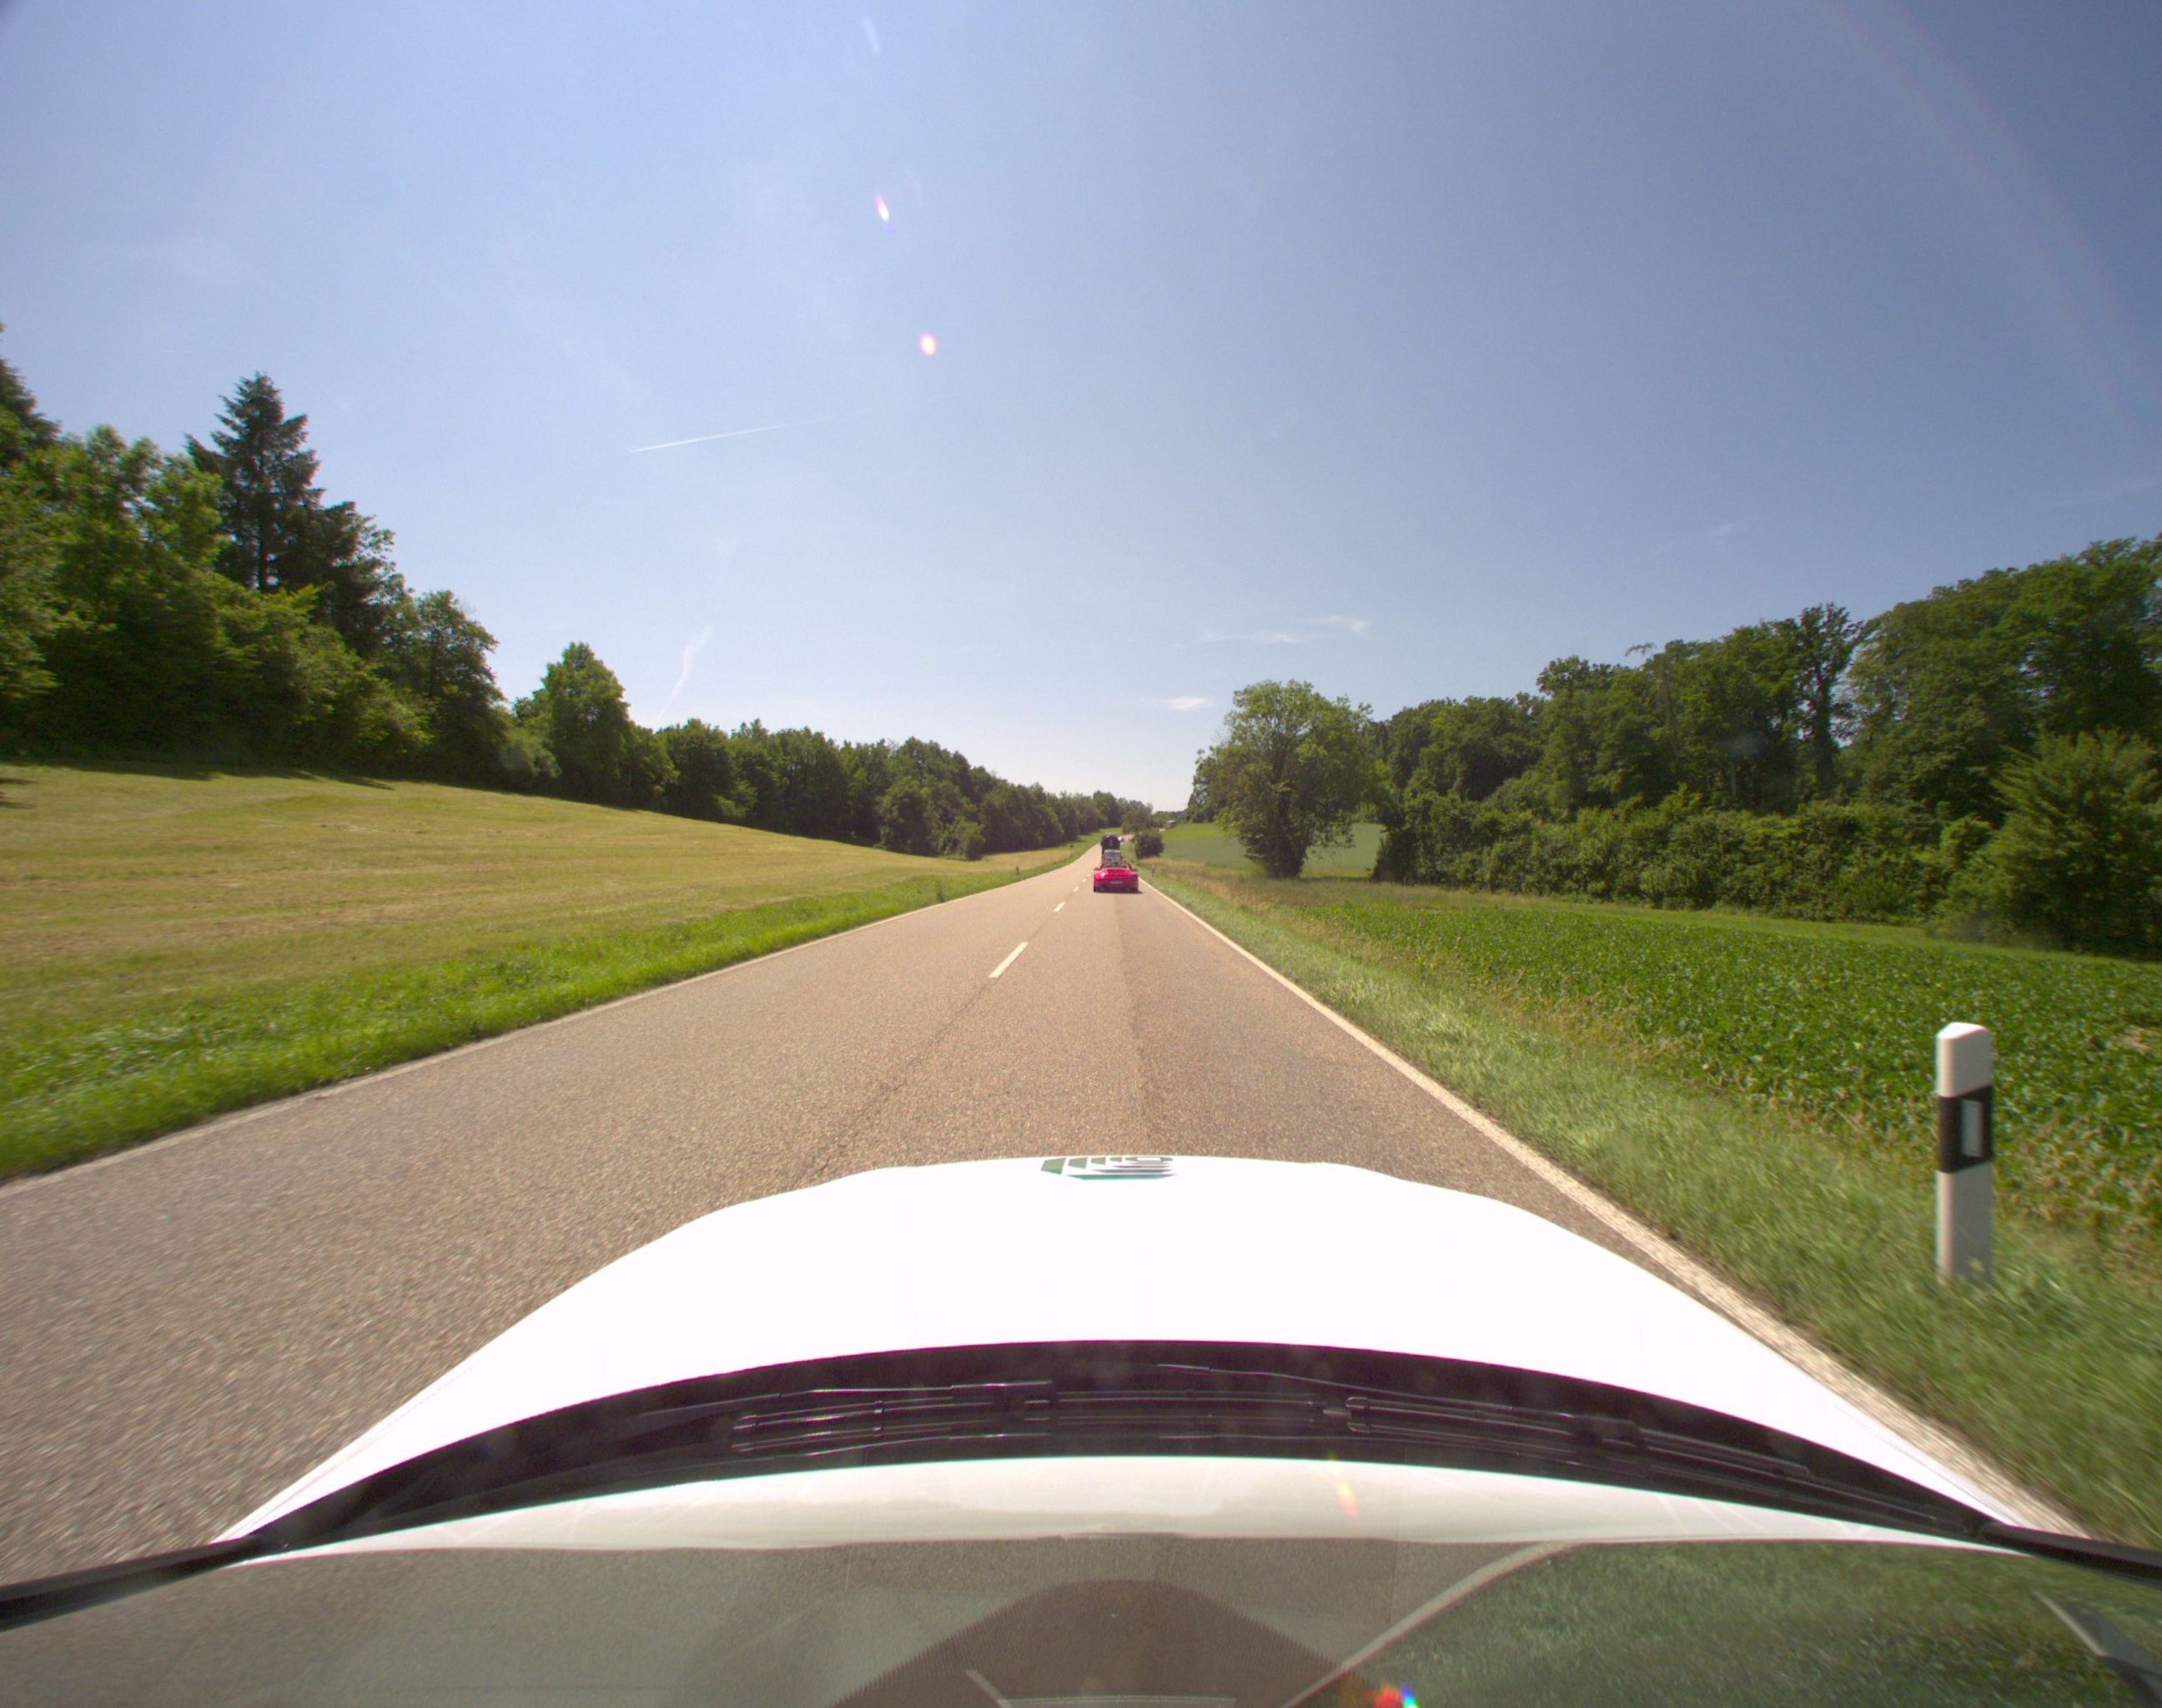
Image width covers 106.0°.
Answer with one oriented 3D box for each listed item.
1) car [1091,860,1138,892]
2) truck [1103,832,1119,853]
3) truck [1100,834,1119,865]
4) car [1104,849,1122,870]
[{"bbox_3d":[1.421,0.903,34.720,1.875,1.255,4.011,0,0,2],"label":"car"},{"bbox_3d":[7.352,-2.897,200.865,3.710,4.659,12.042,-1,2,3],"label":"truck"},{"bbox_3d":[4.006,-0.768,116.408,2.395,4.049,12.554,-2,1,1],"label":"truck"},{"bbox_3d":[3.144,0.537,80.277,1.672,1.900,4.012,-2,0,3],"label":"car"}]
